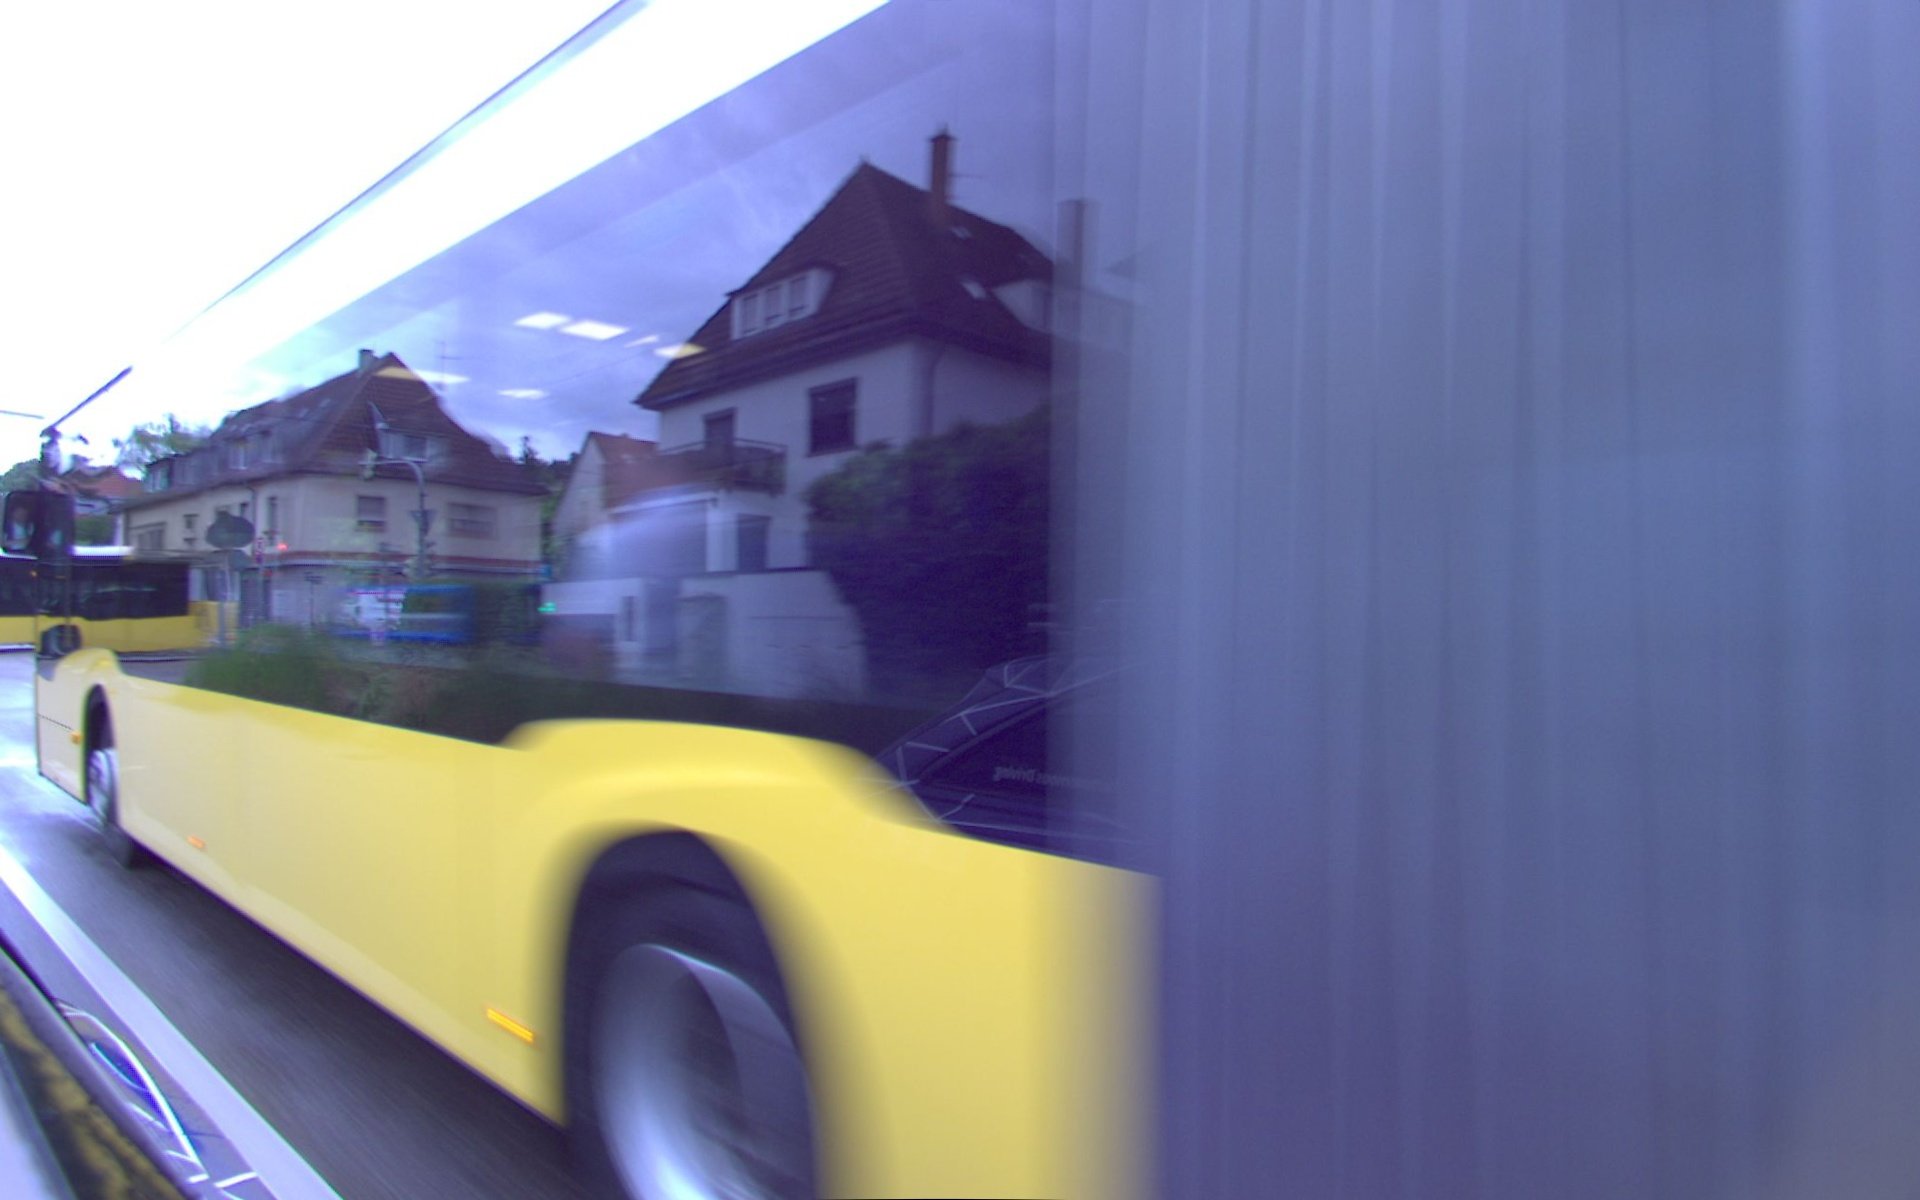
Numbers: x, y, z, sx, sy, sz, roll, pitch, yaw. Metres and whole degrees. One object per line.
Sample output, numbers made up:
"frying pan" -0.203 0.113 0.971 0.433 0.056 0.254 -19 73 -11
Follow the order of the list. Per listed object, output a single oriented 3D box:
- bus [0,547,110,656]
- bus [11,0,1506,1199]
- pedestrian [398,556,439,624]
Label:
"bus" -31.684 0.072 32.475 2.861 3.424 9.062 -1 -1 -12
"bus" -2.549 0.025 5.334 9.224 3.067 2.616 0 0 41
"pedestrian" -14.669 -0.262 27.432 0.764 1.813 0.767 0 -1 43
